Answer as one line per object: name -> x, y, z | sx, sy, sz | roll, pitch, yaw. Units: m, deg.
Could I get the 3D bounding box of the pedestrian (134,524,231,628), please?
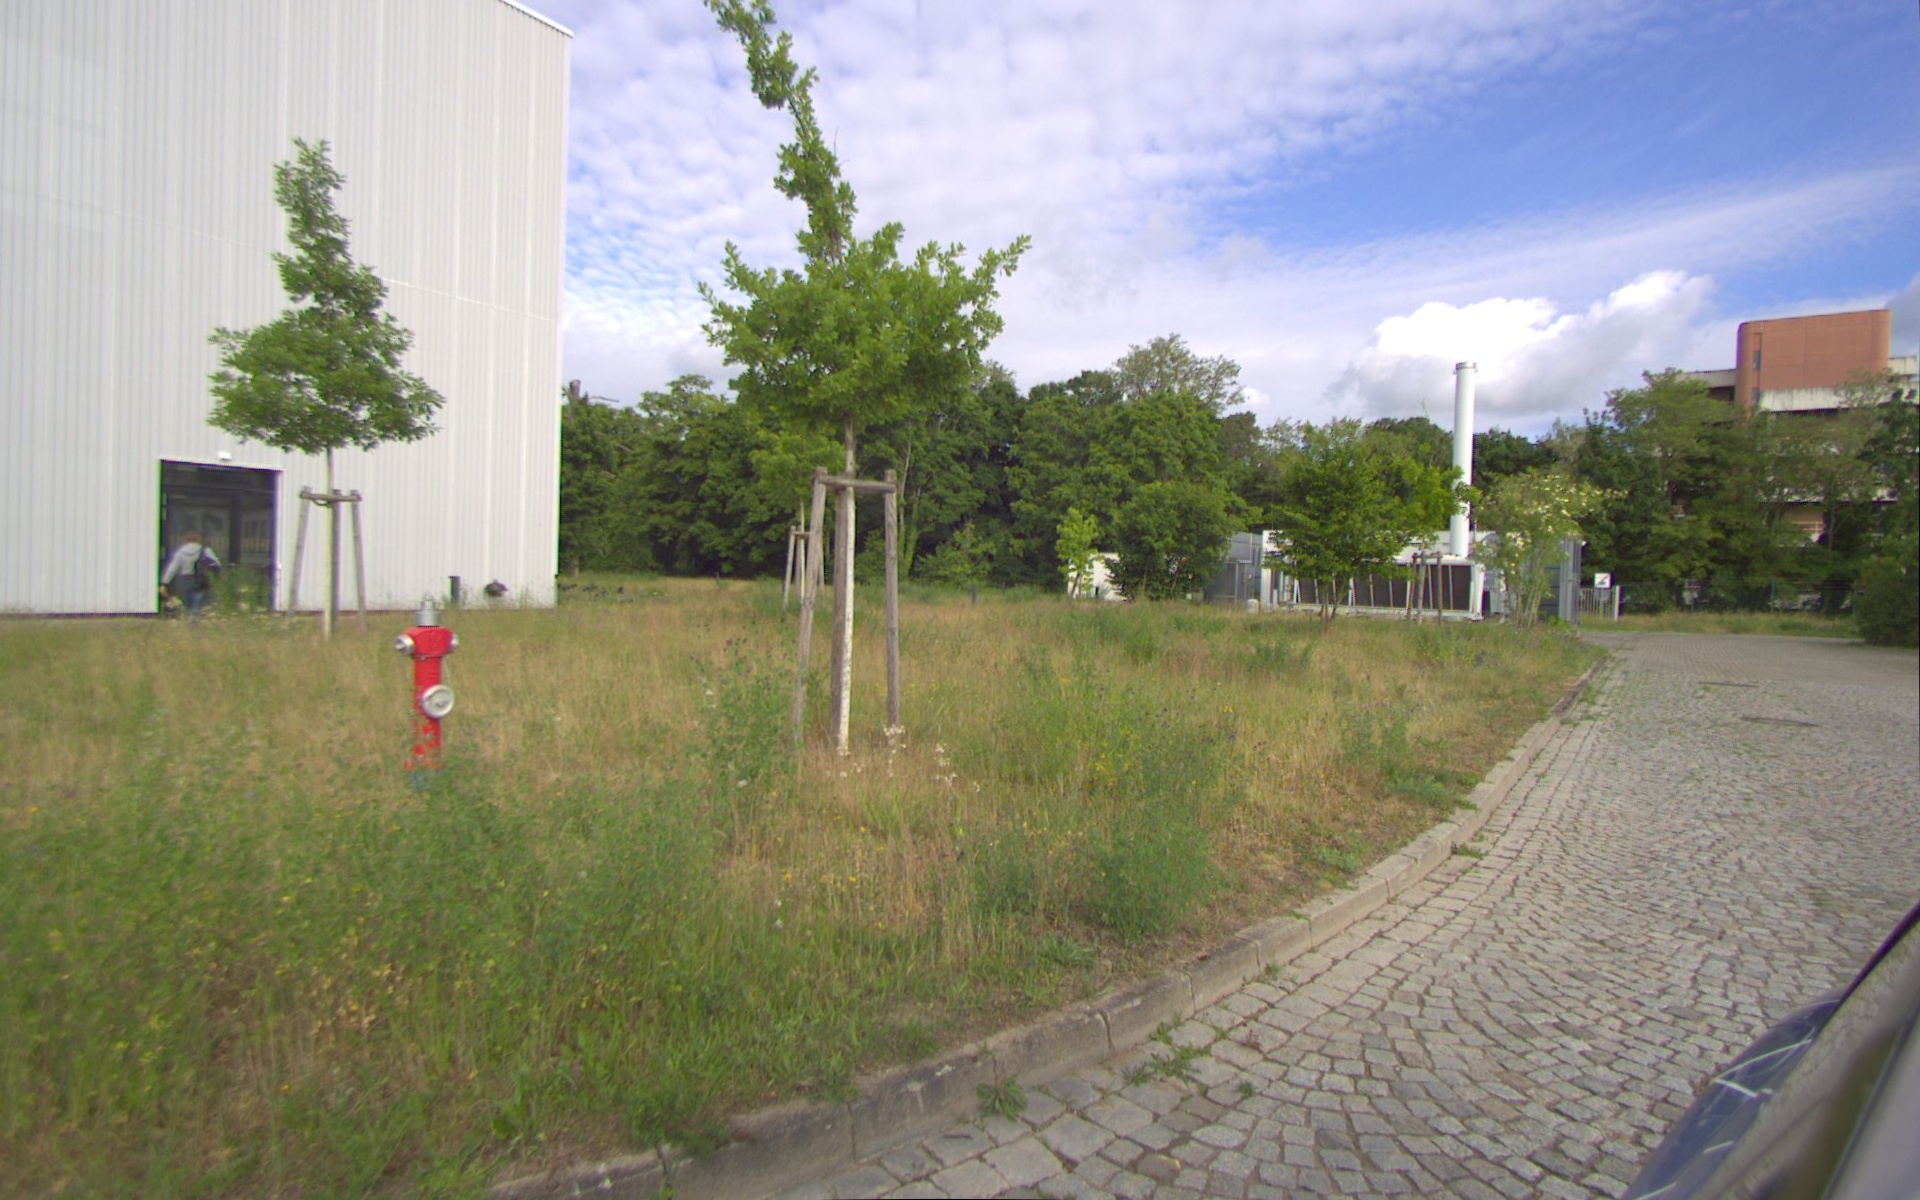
pedestrian -> -12.247, -0.379, 15.986 | 1.053, 1.575, 1.080 | 1, 1, -30

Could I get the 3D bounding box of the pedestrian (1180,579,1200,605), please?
pedestrian -> 15.775, -0.560, 69.381 | 1.032, 1.703, 0.833 | 3, 2, 37
